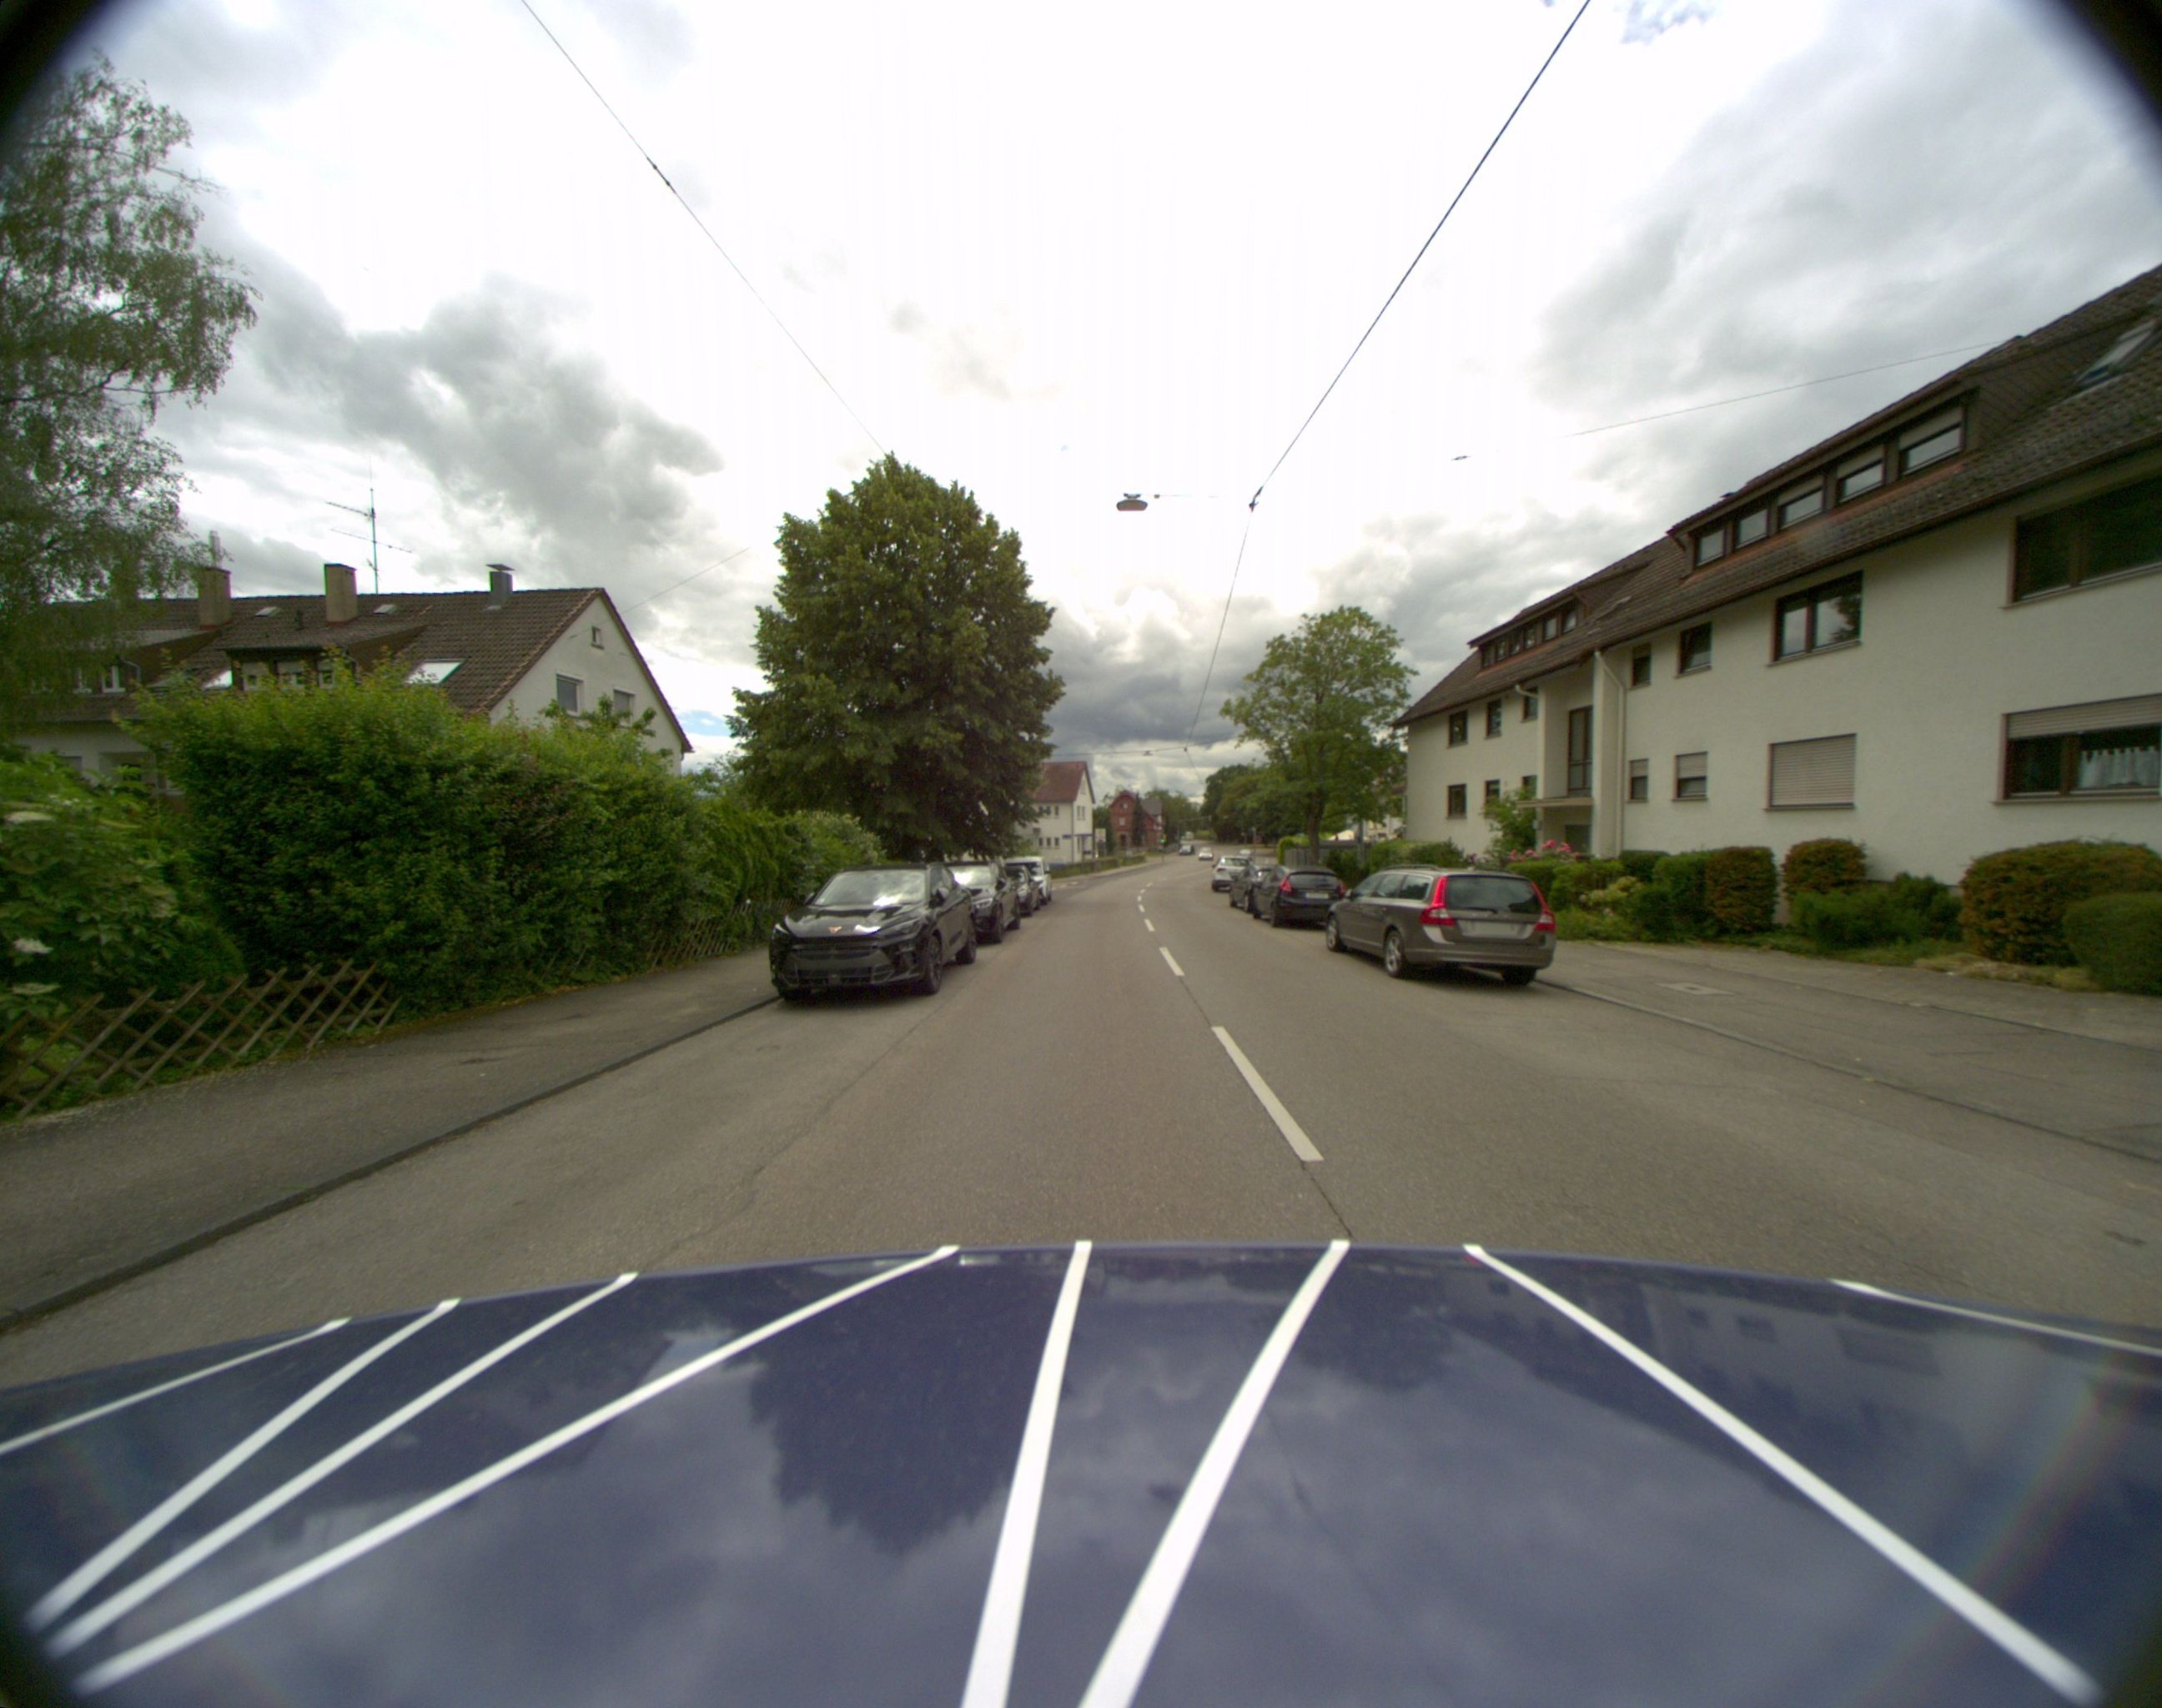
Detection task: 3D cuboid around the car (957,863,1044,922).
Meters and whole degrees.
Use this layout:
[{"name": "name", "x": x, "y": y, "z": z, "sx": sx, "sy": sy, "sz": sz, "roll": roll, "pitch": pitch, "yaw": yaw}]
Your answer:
[{"name": "car", "x": -2.320, "y": 1.080, "z": 23.062, "sx": 1.998, "sy": 1.469, "sz": 4.620, "roll": -1, "pitch": 1, "yaw": 2}]

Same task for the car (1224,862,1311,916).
[{"name": "car", "x": 5.709, "y": 1.018, "z": 23.754, "sx": 1.767, "sy": 1.430, "sz": 4.078, "roll": 1, "pitch": 0, "yaw": 1}]

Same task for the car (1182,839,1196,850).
[{"name": "car", "x": 16.958, "y": -1.517, "z": 118.919, "sx": 1.924, "sy": 1.510, "sz": 4.001, "roll": 0, "pitch": 3, "yaw": 12}]

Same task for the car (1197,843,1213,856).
[{"name": "car", "x": 15.735, "y": -0.558, "z": 96.455, "sx": 1.779, "sy": 1.510, "sz": 3.558, "roll": -2, "pitch": 2, "yaw": 5}]

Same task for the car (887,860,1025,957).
[{"name": "car", "x": -2.470, "y": 1.029, "z": 16.204, "sx": 1.998, "sy": 1.606, "sz": 4.539, "roll": -2, "pitch": 1, "yaw": 2}]

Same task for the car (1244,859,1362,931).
[{"name": "car", "x": 5.333, "y": 0.918, "z": 18.809, "sx": 1.766, "sy": 1.430, "sz": 4.078, "roll": 3, "pitch": 1, "yaw": 2}]

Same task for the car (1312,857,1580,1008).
[{"name": "car", "x": 5.114, "y": 0.952, "z": 11.545, "sx": 1.851, "sy": 1.670, "sz": 4.787, "roll": 2, "pitch": 1, "yaw": 2}]

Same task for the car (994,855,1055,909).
[{"name": "car", "x": -2.015, "y": 0.976, "z": 28.347, "sx": 1.842, "sy": 1.763, "sz": 4.317, "roll": -3, "pitch": 0, "yaw": 0}]

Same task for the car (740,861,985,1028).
[{"name": "car", "x": -2.597, "y": 0.981, "z": 10.302, "sx": 1.815, "sy": 1.606, "sz": 4.539, "roll": -2, "pitch": 1, "yaw": 2}]

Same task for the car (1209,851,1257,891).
[{"name": "car", "x": 7.034, "y": 0.737, "z": 35.610, "sx": 1.853, "sy": 1.704, "sz": 4.577, "roll": 1, "pitch": 1, "yaw": 7}]
